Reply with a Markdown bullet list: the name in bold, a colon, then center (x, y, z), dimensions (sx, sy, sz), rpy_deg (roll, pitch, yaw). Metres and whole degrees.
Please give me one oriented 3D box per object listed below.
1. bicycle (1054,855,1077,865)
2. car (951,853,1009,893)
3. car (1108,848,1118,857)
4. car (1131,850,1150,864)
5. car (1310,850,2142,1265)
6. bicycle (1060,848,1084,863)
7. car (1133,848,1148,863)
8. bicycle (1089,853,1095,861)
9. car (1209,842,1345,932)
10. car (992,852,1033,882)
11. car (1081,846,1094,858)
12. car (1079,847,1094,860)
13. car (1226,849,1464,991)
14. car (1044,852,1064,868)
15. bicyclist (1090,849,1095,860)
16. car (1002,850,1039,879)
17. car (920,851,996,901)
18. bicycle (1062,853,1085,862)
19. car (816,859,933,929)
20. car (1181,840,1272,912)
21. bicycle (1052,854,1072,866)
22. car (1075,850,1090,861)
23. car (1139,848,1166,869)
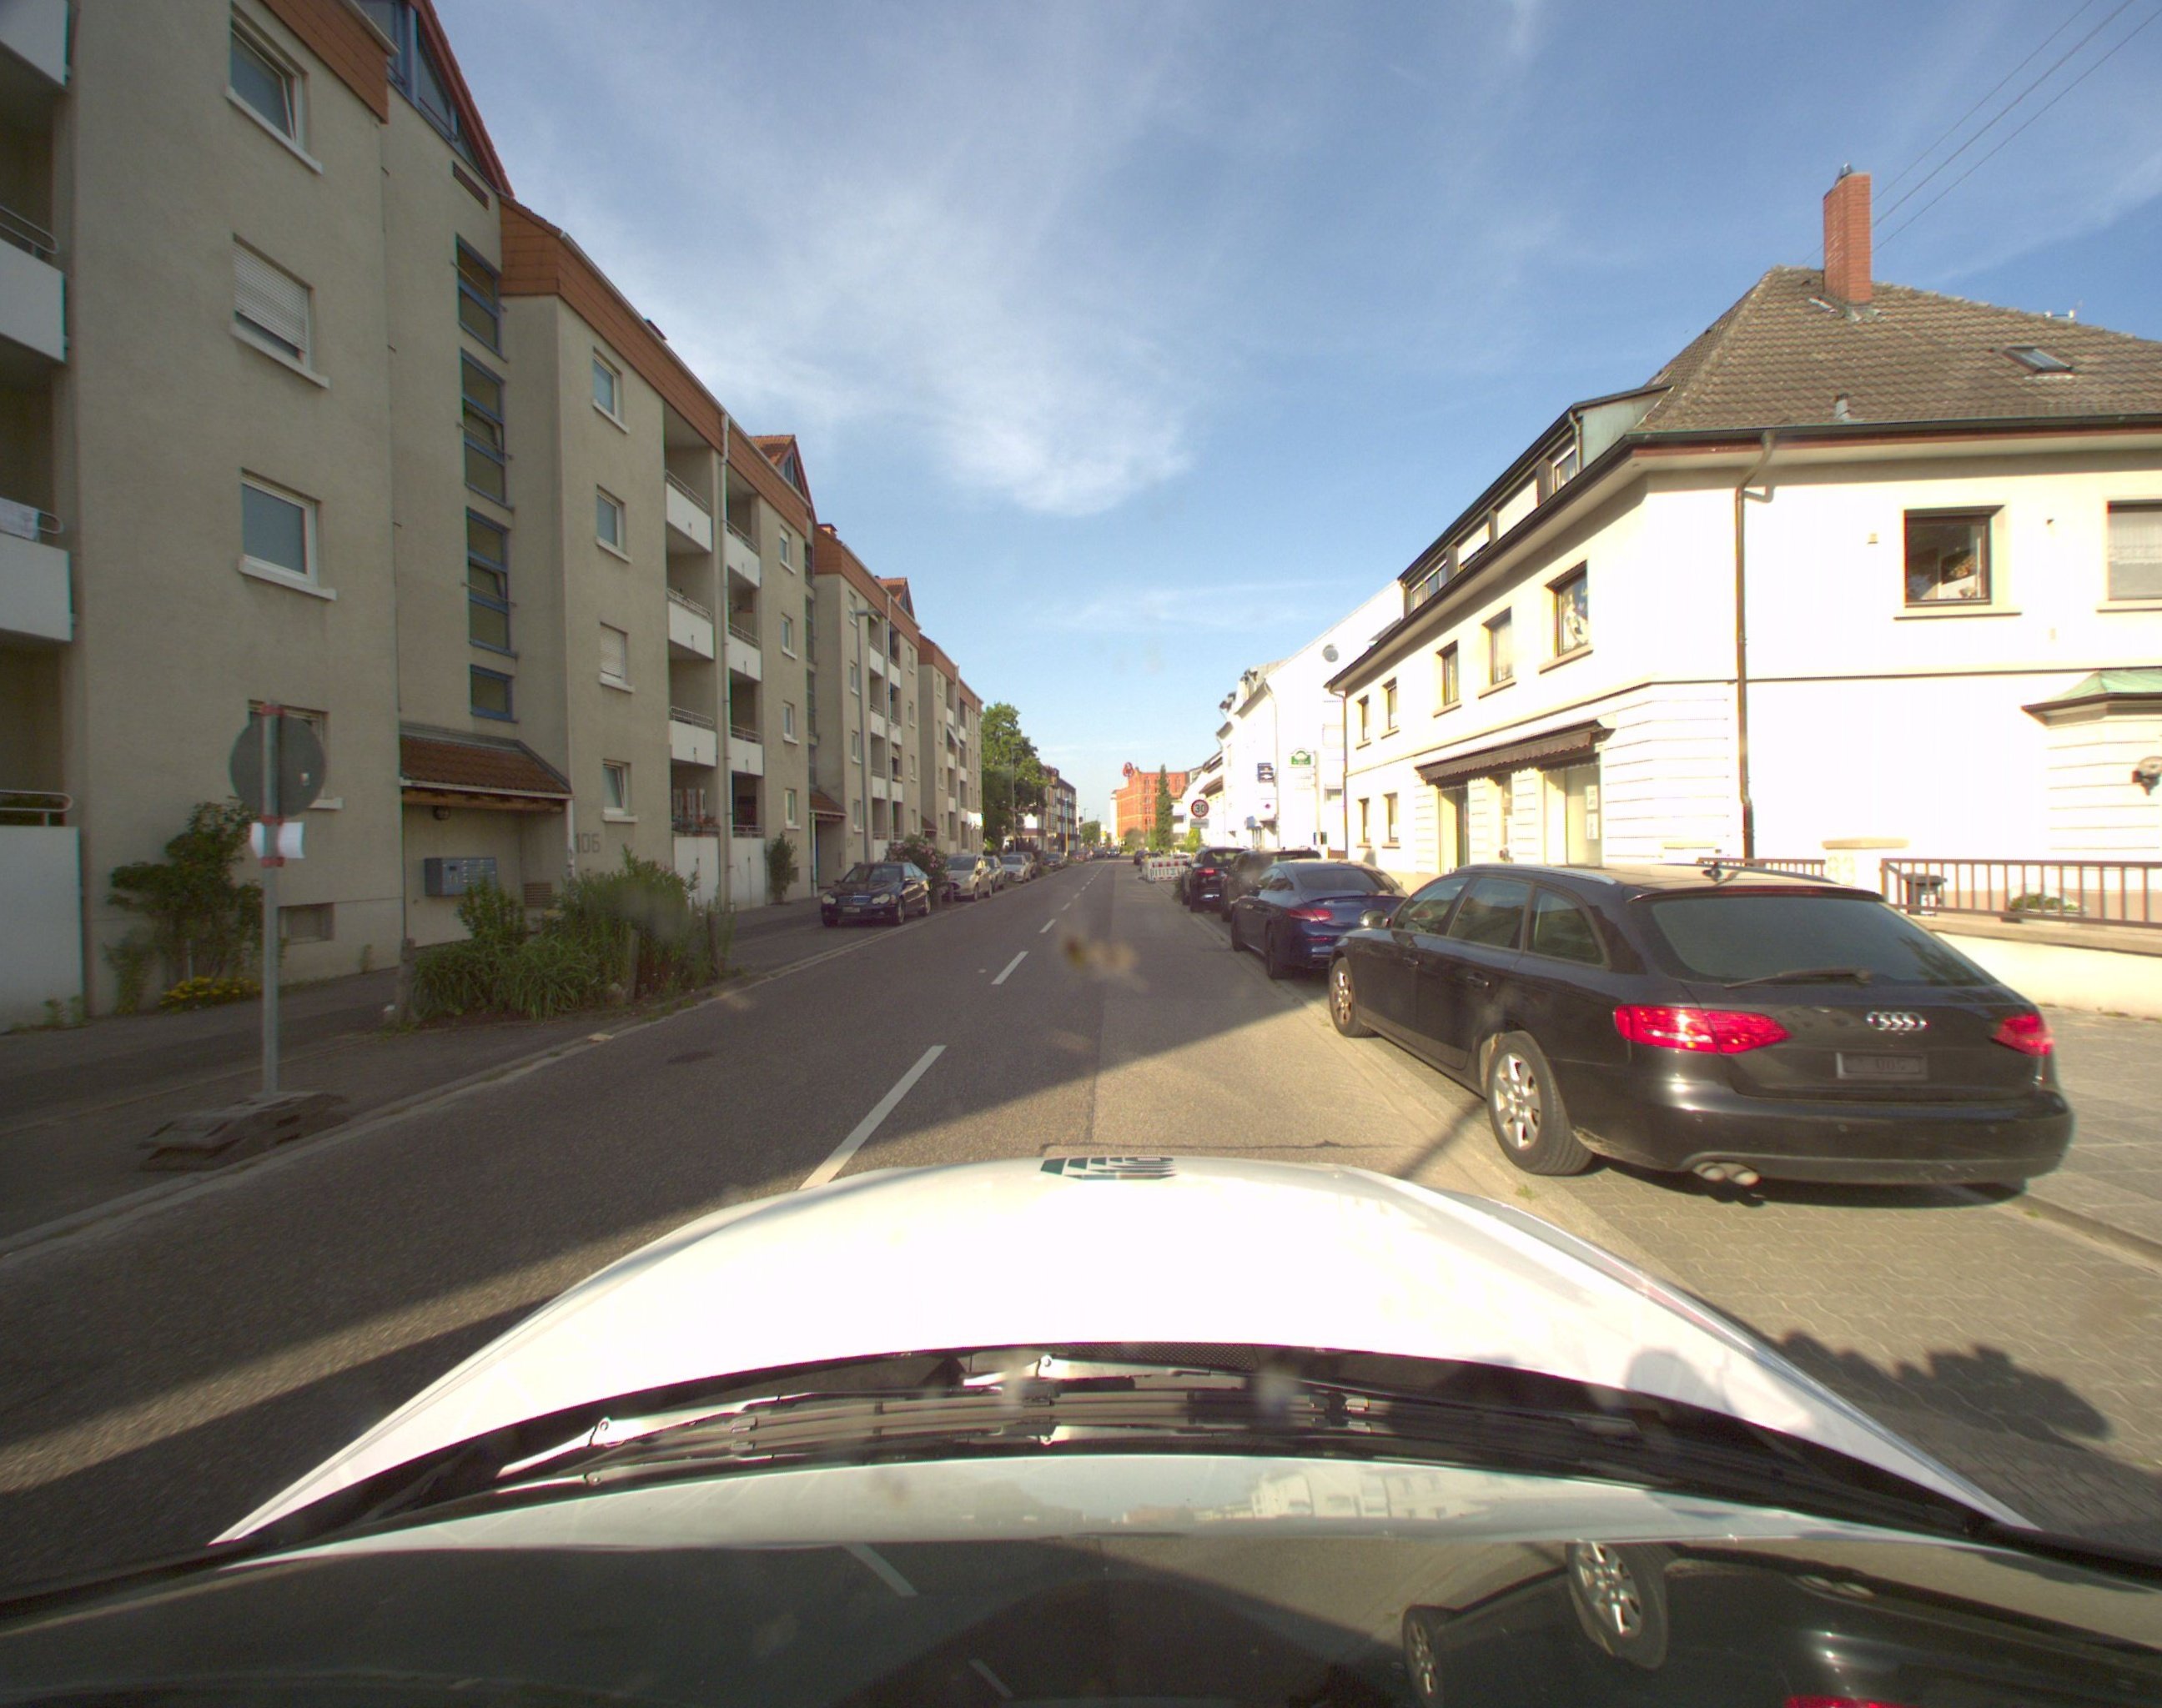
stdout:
- **bicycle**: center (-1.618, 0.665, 85.287), dimensions (2.334, 0.970, 0.707), rpy_deg (-1, 0, -3)
- **car**: center (-4.168, 0.737, 34.341), dimensions (1.801, 1.521, 4.371), rpy_deg (0, 0, 1)
- **car**: center (5.707, -0.310, 146.273), dimensions (1.756, 1.616, 4.003), rpy_deg (-2, 0, 2)
- **car**: center (6.248, 0.316, 85.434), dimensions (1.852, 1.472, 4.002), rpy_deg (1, 0, 2)
- **car**: center (2.915, 0.713, 5.134), dimensions (1.773, 1.420, 4.498), rpy_deg (-1, 0, 2)
- **bicycle**: center (-1.081, 0.169, 101.247), dimensions (2.905, 1.777, 1.203), rpy_deg (-2, 0, 3)
- **car**: center (6.636, 0.172, 90.729), dimensions (1.595, 1.646, 3.687), rpy_deg (0, 0, 2)
- **bicycle**: center (1.467, 0.412, 105.598), dimensions (0.605, 0.942, 1.813), rpy_deg (-2, 0, 4)
- **car**: center (3.842, 0.583, 16.733), dimensions (1.823, 1.560, 4.319), rpy_deg (-2, 0, 1)
- **car**: center (-3.564, 0.647, 42.875), dimensions (1.680, 1.454, 4.142), rpy_deg (0, 0, 1)
- **car**: center (1.100, -0.345, 137.099), dimensions (1.985, 1.881, 4.003), rpy_deg (-1, 0, 3)
- **car**: center (0.796, -0.098, 121.695), dimensions (1.985, 1.835, 3.693), rpy_deg (-2, 0, 3)
- **car**: center (3.138, 0.675, 10.739), dimensions (1.822, 1.420, 4.612), rpy_deg (-1, 0, 3)
- **car**: center (-2.375, 0.512, 72.555), dimensions (1.567, 1.420, 3.806), rpy_deg (-1, 0, 2)
- **bicyclist**: center (1.452, 0.051, 105.599), dimensions (0.588, 1.442, 0.751), rpy_deg (-2, 0, 4)
- **car**: center (-3.526, 0.602, 47.978), dimensions (1.679, 1.603, 4.372), rpy_deg (0, 0, 2)
- **car**: center (-4.129, 0.694, 27.857), dimensions (1.719, 1.555, 3.970), rpy_deg (0, 0, 4)
- **bicycle**: center (-0.984, 0.440, 103.019), dimensions (2.761, 1.144, 1.144), rpy_deg (-2, 0, 3)
- **car**: center (-4.743, 0.863, 19.292), dimensions (1.680, 1.405, 4.084), rpy_deg (0, 0, 1)
- **car**: center (3.708, 0.504, 21.468), dimensions (1.822, 1.630, 4.468), rpy_deg (-2, 0, 4)
- **bicycle**: center (-1.995, 0.592, 84.440), dimensions (1.996, 1.217, 0.707), rpy_deg (-1, 0, -3)
- **car**: center (0.233, 0.212, 110.919), dimensions (1.832, 1.464, 3.587), rpy_deg (-1, 0, 3)
- **car**: center (5.337, 0.335, 61.153), dimensions (1.822, 1.482, 3.947), rpy_deg (-2, 0, 3)
